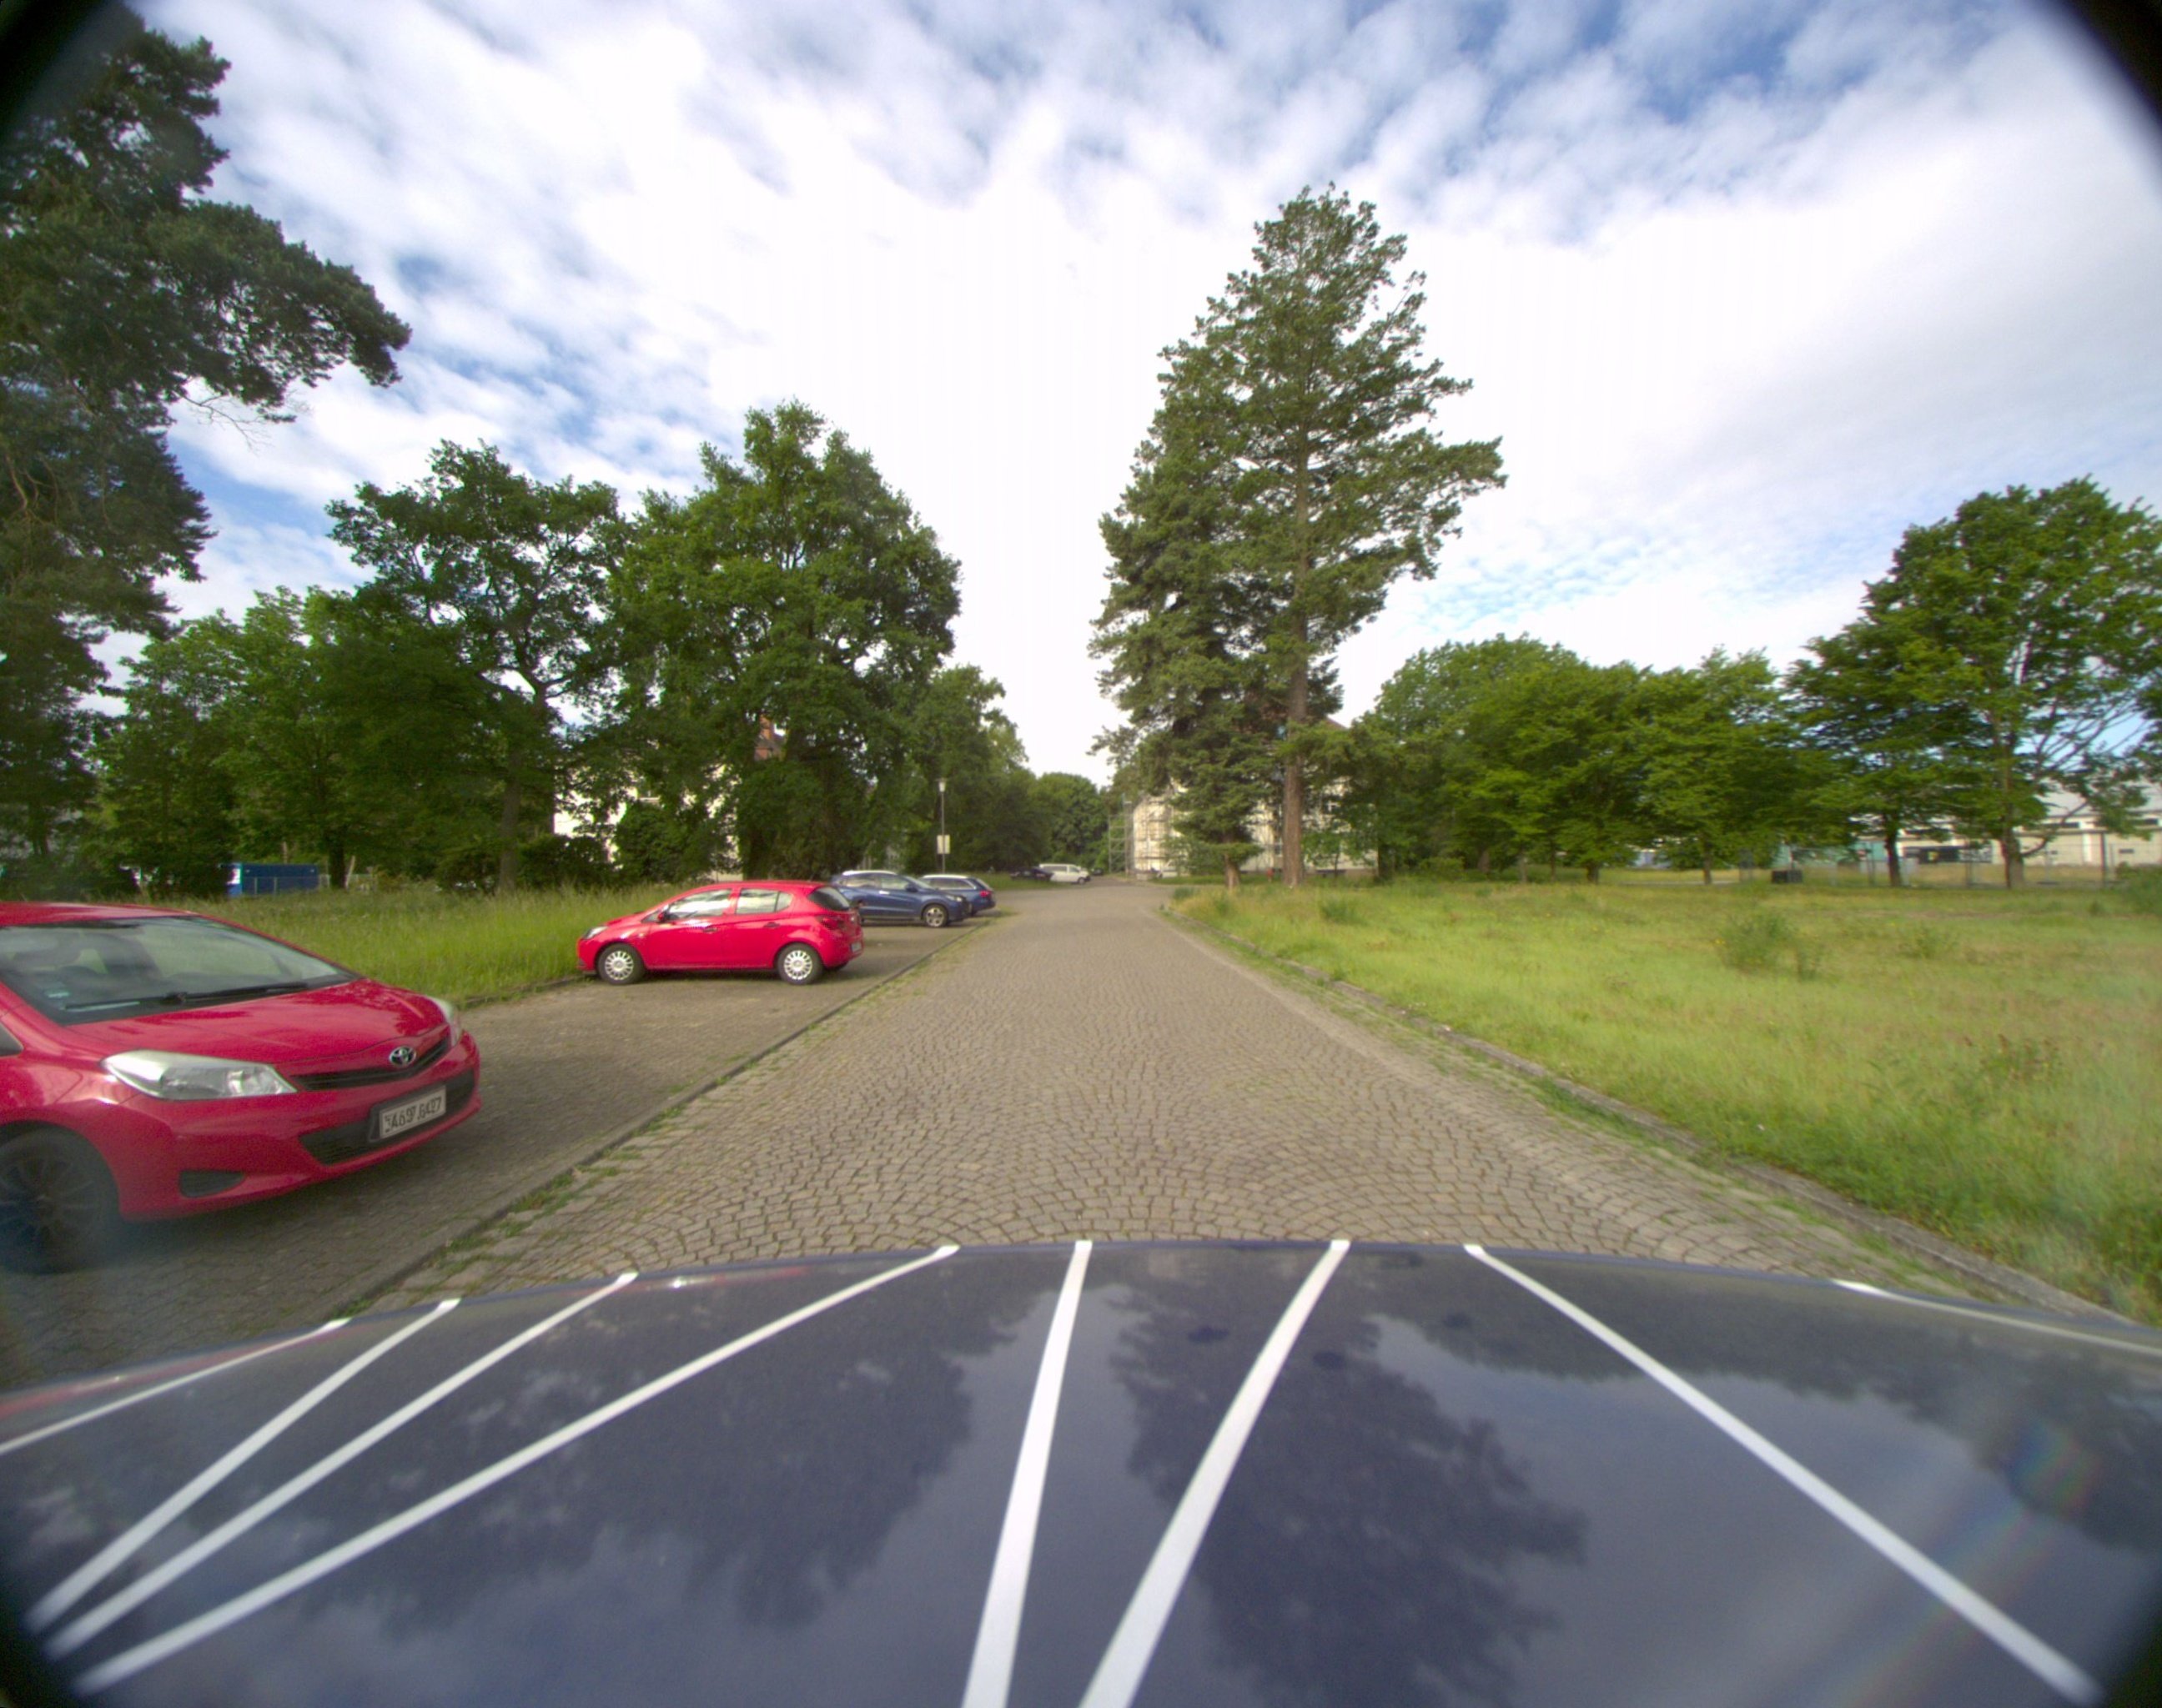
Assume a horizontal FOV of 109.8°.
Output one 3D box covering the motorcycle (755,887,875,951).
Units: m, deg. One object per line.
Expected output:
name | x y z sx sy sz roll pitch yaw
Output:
motorcycle | -5.530 1.342 15.897 2.271 1.267 0.605 0 0 -5

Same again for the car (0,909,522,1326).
car | -5.465 1.116 3.815 3.997 1.509 1.738 -1 -1 0

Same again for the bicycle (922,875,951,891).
bicycle | -10.454 2.083 54.897 2.020 1.082 0.478 0 2 -22

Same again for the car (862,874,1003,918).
car | -5.104 1.432 26.520 4.515 1.456 1.896 0 -1 3

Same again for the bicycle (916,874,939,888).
bicycle | -12.373 2.161 61.148 1.753 1.082 0.552 0 2 -22

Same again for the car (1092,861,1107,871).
car | 3.437 2.215 141.784 2.029 1.915 3.997 -1 -1 -11

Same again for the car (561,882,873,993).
car | -5.286 1.188 11.432 3.849 1.496 1.738 0 -1 -1

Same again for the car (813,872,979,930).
car | -5.179 1.310 21.740 4.274 1.564 1.895 0 -1 -1

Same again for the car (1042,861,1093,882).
car | -1.373 1.701 75.253 4.916 1.982 2.000 -1 -1 -3
